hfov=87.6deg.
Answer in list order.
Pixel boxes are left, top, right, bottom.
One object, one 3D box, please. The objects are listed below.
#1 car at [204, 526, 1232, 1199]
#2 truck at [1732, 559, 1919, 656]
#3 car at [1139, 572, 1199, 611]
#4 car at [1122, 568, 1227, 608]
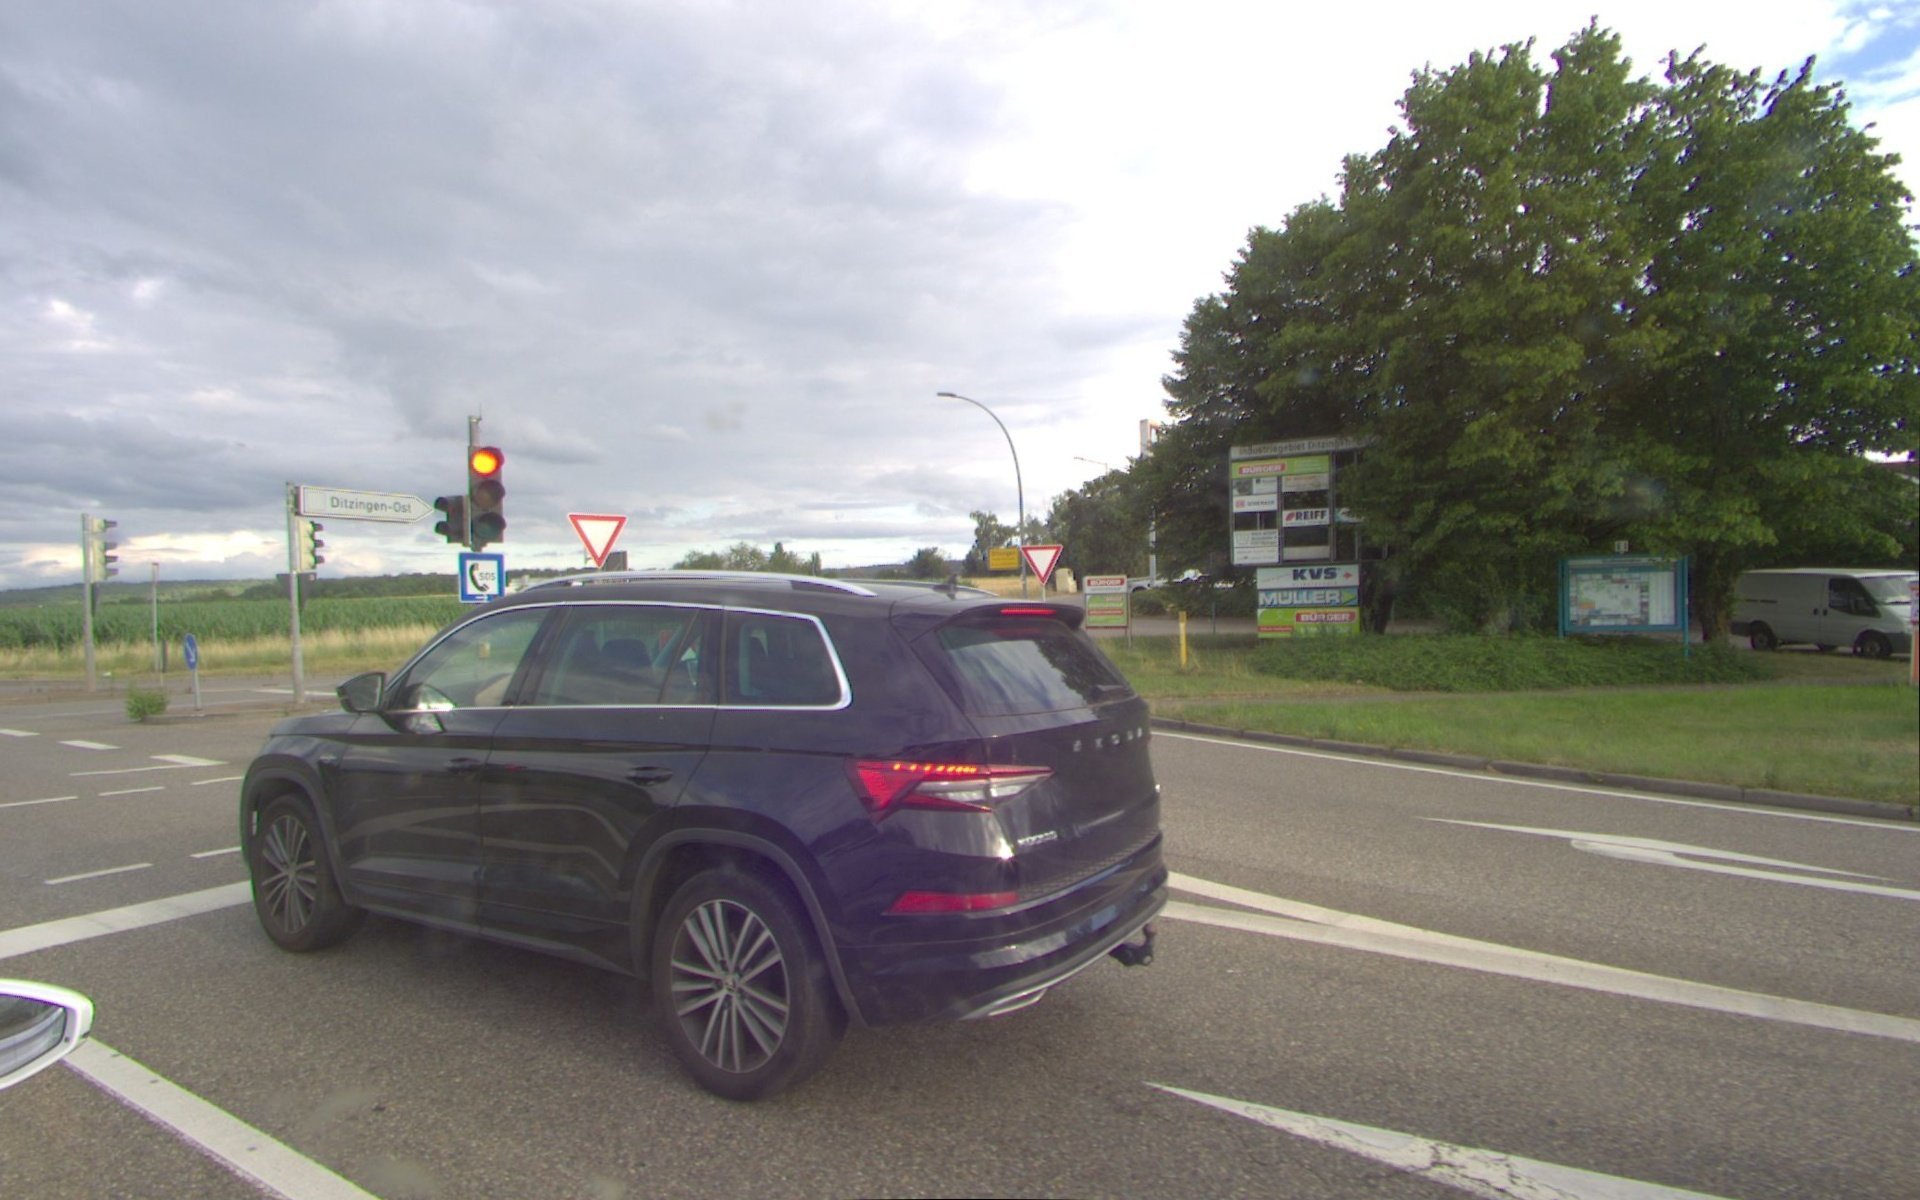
[{"bbox_3d":[-1.253,0.708,4.407,4.416,1.671,1.842,-1,-2,32],"label":"car"},{"bbox_3d":[20.872,0.209,23.465,1.788,2.022,4.671,0,-1,-3],"label":"truck"},{"bbox_3d":[11.289,-0.491,53.783,1.931,1.910,4.284,-1,2,29],"label":"car"},{"bbox_3d":[12.268,-0.669,57.270,5.524,2.041,1.992,-2,1,25],"label":"car"}]
